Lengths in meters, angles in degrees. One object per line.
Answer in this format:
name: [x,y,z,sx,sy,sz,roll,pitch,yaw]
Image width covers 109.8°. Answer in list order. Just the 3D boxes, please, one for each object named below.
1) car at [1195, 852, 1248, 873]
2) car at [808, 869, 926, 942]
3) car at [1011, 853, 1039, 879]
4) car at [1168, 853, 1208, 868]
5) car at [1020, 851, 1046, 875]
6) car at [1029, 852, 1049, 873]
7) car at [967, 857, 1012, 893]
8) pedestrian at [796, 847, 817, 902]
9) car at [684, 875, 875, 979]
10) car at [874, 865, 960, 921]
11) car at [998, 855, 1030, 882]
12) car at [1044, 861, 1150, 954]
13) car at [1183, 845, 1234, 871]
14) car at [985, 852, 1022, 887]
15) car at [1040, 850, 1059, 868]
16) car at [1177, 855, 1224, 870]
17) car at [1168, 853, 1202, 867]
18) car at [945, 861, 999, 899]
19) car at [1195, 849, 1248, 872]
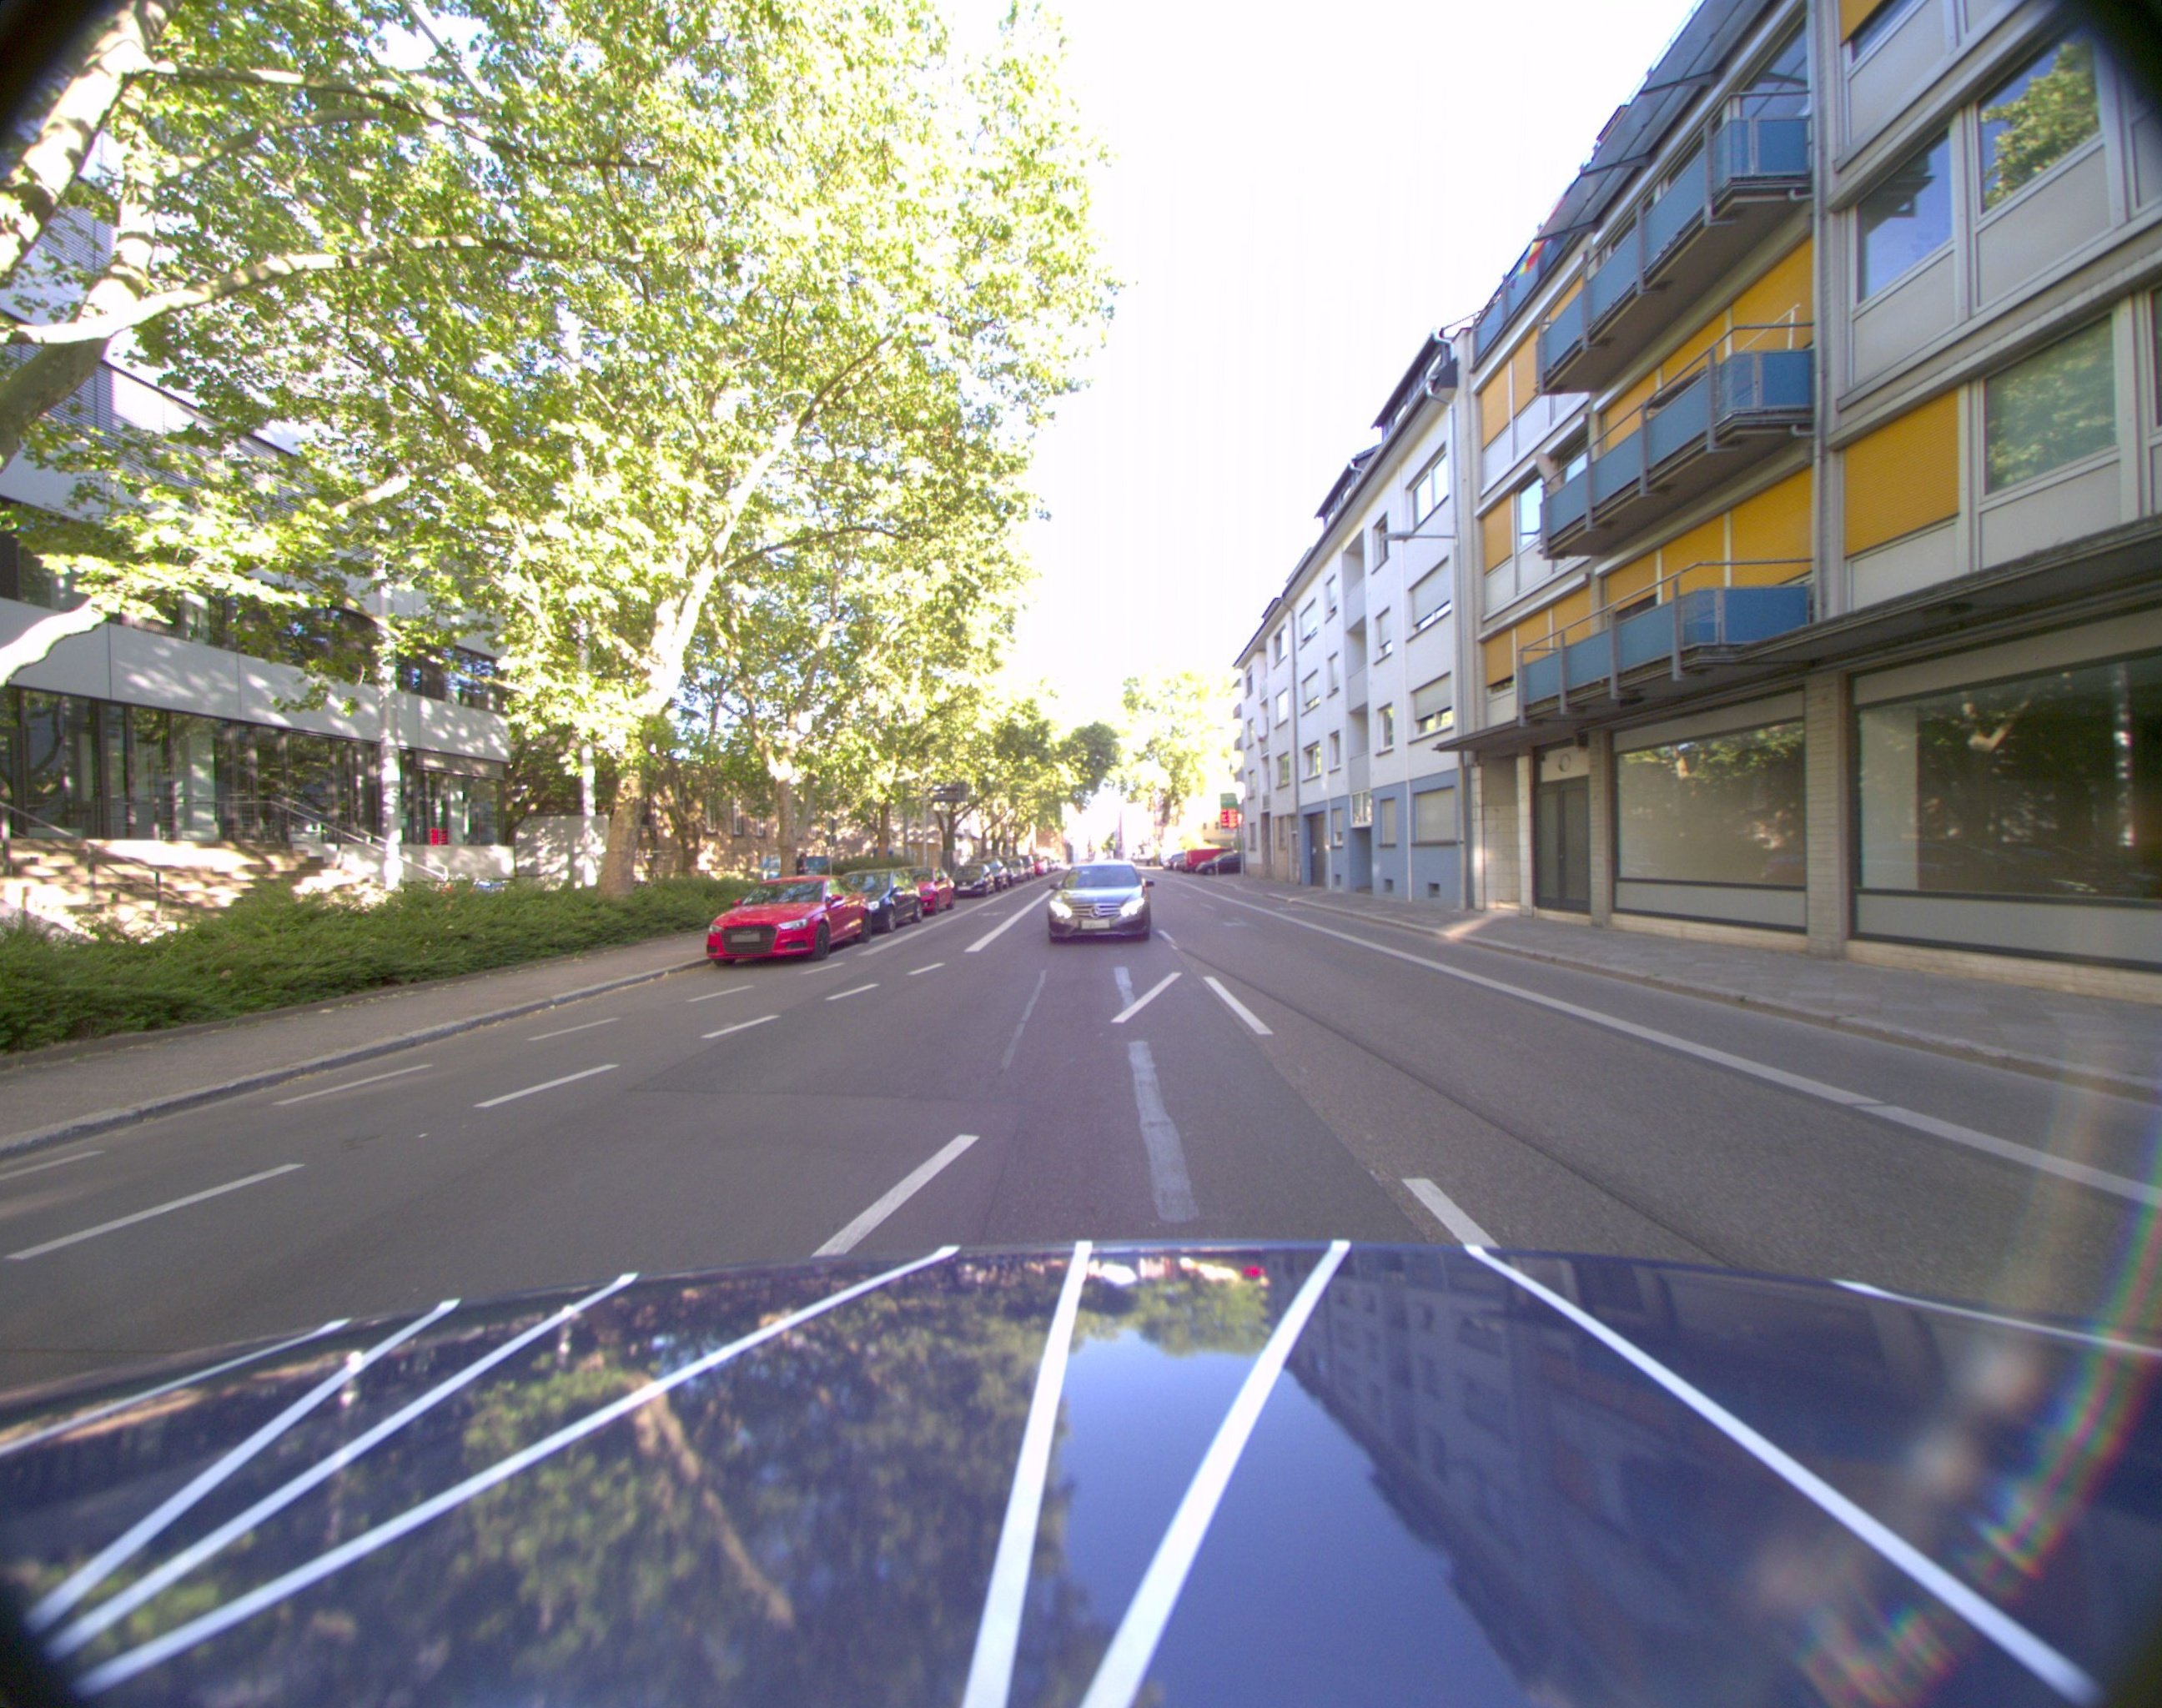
car: [10.091,0.584,54.723,3.508,1.380,1.490,-2,1,2]
car: [-5.050,1.160,18.405,1.669,1.410,3.697,-2,1,1]
car: [-4.038,0.811,55.233,1.634,1.725,3.769,-2,1,0]
car: [10.267,0.621,73.023,3.687,1.238,1.345,-2,1,2]
car: [-4.170,0.718,66.085,1.915,1.940,3.769,-2,1,0]
car: [-3.903,0.802,70.997,1.599,1.835,3.769,-2,1,0]
car: [-4.518,0.989,38.101,1.634,1.569,4.231,-2,1,0]
pedestrian: [-10.163,0.760,28.139,0.552,2.002,0.562,-2,1,-11]
car: [-5.161,1.178,13.651,1.794,1.384,3.999,-2,1,0]
car: [-5.013,1.131,23.678,1.692,1.441,3.923,-2,1,1]
car: [-4.354,0.936,50.106,1.634,1.604,4.576,-2,1,0]
car: [0.318,0.934,15.006,1.752,1.423,4.265,-2,1,1]
car: [10.060,0.315,59.936,3.688,1.897,1.490,-2,-1,-1]
car: [-4.455,0.850,44.234,1.634,1.781,4.576,-2,1,0]
car: [-3.811,0.582,91.990,1.998,2.002,4.000,-2,0,1]
car: [9.812,0.687,62.582,3.687,1.122,1.345,-2,1,2]
car: [10.323,0.575,75.461,3.271,1.238,1.345,-2,1,2]
car: [-4.693,1.109,33.230,1.692,1.414,3.923,-2,1,0]
car: [10.534,0.479,57.092,3.687,1.503,1.490,-2,1,2]
